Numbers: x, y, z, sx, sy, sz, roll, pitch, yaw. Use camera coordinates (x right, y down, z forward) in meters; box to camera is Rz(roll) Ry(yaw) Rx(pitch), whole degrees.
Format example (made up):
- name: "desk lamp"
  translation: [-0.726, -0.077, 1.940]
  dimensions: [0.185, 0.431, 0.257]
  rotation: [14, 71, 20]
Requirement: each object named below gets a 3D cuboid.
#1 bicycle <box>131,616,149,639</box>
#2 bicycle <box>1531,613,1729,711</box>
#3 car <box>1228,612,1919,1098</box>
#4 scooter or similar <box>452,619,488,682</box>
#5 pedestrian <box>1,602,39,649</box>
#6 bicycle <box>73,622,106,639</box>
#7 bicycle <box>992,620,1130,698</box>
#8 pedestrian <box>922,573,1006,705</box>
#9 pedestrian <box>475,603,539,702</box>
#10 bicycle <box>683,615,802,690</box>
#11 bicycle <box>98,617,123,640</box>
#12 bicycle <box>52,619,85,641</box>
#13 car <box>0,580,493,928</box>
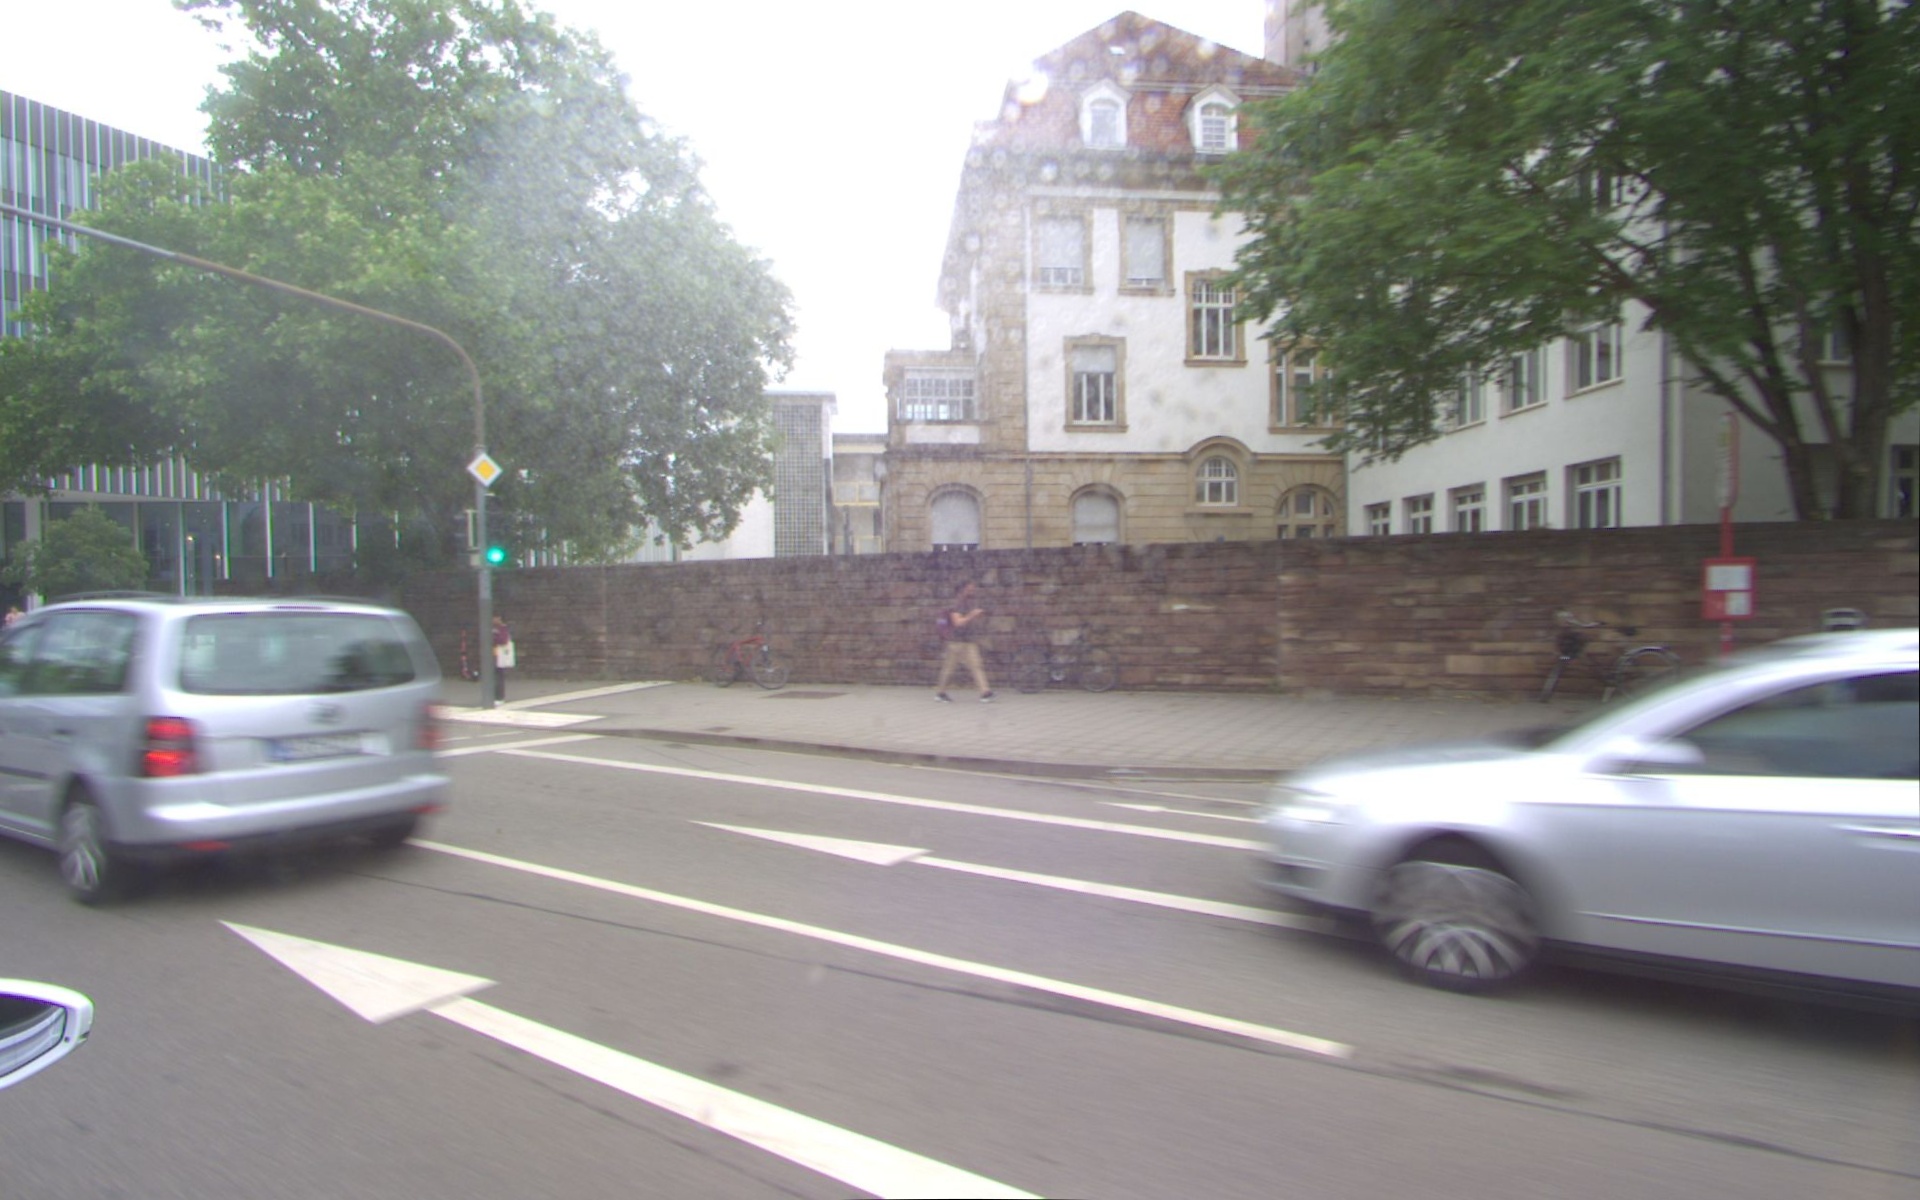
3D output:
- name: "bicycle"
  translation: [-40.970, 1.351, 50.043]
  dimensions: [0.616, 1.070, 1.933]
  rotation: [-2, 2, -38]
- name: "bicycle"
  translation: [8.376, 0.760, 12.621]
  dimensions: [1.889, 1.143, 0.849]
  rotation: [-1, 2, 17]
- name: "car"
  translation: [3.571, 0.851, 4.031]
  dimensions: [4.467, 1.570, 1.820]
  rotation: [-2, -2, 35]
- name: "scooter or similar"
  translation: [-10.147, 1.014, 20.706]
  dimensions: [0.427, 1.195, 1.693]
  rotation: [-3, 2, -33]
- name: "pedestrian"
  translation: [-36.817, 0.972, 39.218]
  dimensions: [0.756, 1.789, 0.845]
  rotation: [0, 2, 32]
- name: "bicycle"
  translation: [-43.365, 1.518, 49.887]
  dimensions: [0.510, 0.726, 1.525]
  rotation: [-1, 1, -10]
- name: "bicycle"
  translation: [1.552, 0.876, 15.285]
  dimensions: [1.934, 1.088, 0.941]
  rotation: [-1, 2, 17]
- name: "pedestrian"
  translation: [0.062, 0.546, 14.516]
  dimensions: [1.018, 1.846, 0.629]
  rotation: [0, 2, 32]
- name: "pedestrian"
  translation: [-7.645, 0.873, 16.922]
  dimensions: [0.627, 1.584, 0.658]
  rotation: [0, 5, 32]
- name: "bicycle"
  translation: [-3.801, 0.889, 17.470]
  dimensions: [1.923, 1.190, 0.802]
  rotation: [0, 3, 28]
- name: "bicycle"
  translation: [-42.222, 1.401, 49.766]
  dimensions: [0.802, 1.070, 1.933]
  rotation: [-2, 2, -38]
- name: "bicycle"
  translation: [-44.234, 1.486, 49.723]
  dimensions: [0.686, 0.959, 1.975]
  rotation: [-2, 2, -27]
- name: "car"
  translation: [-5.038, 0.753, 6.468]
  dimensions: [4.045, 1.624, 1.727]
  rotation: [-1, -1, 31]
